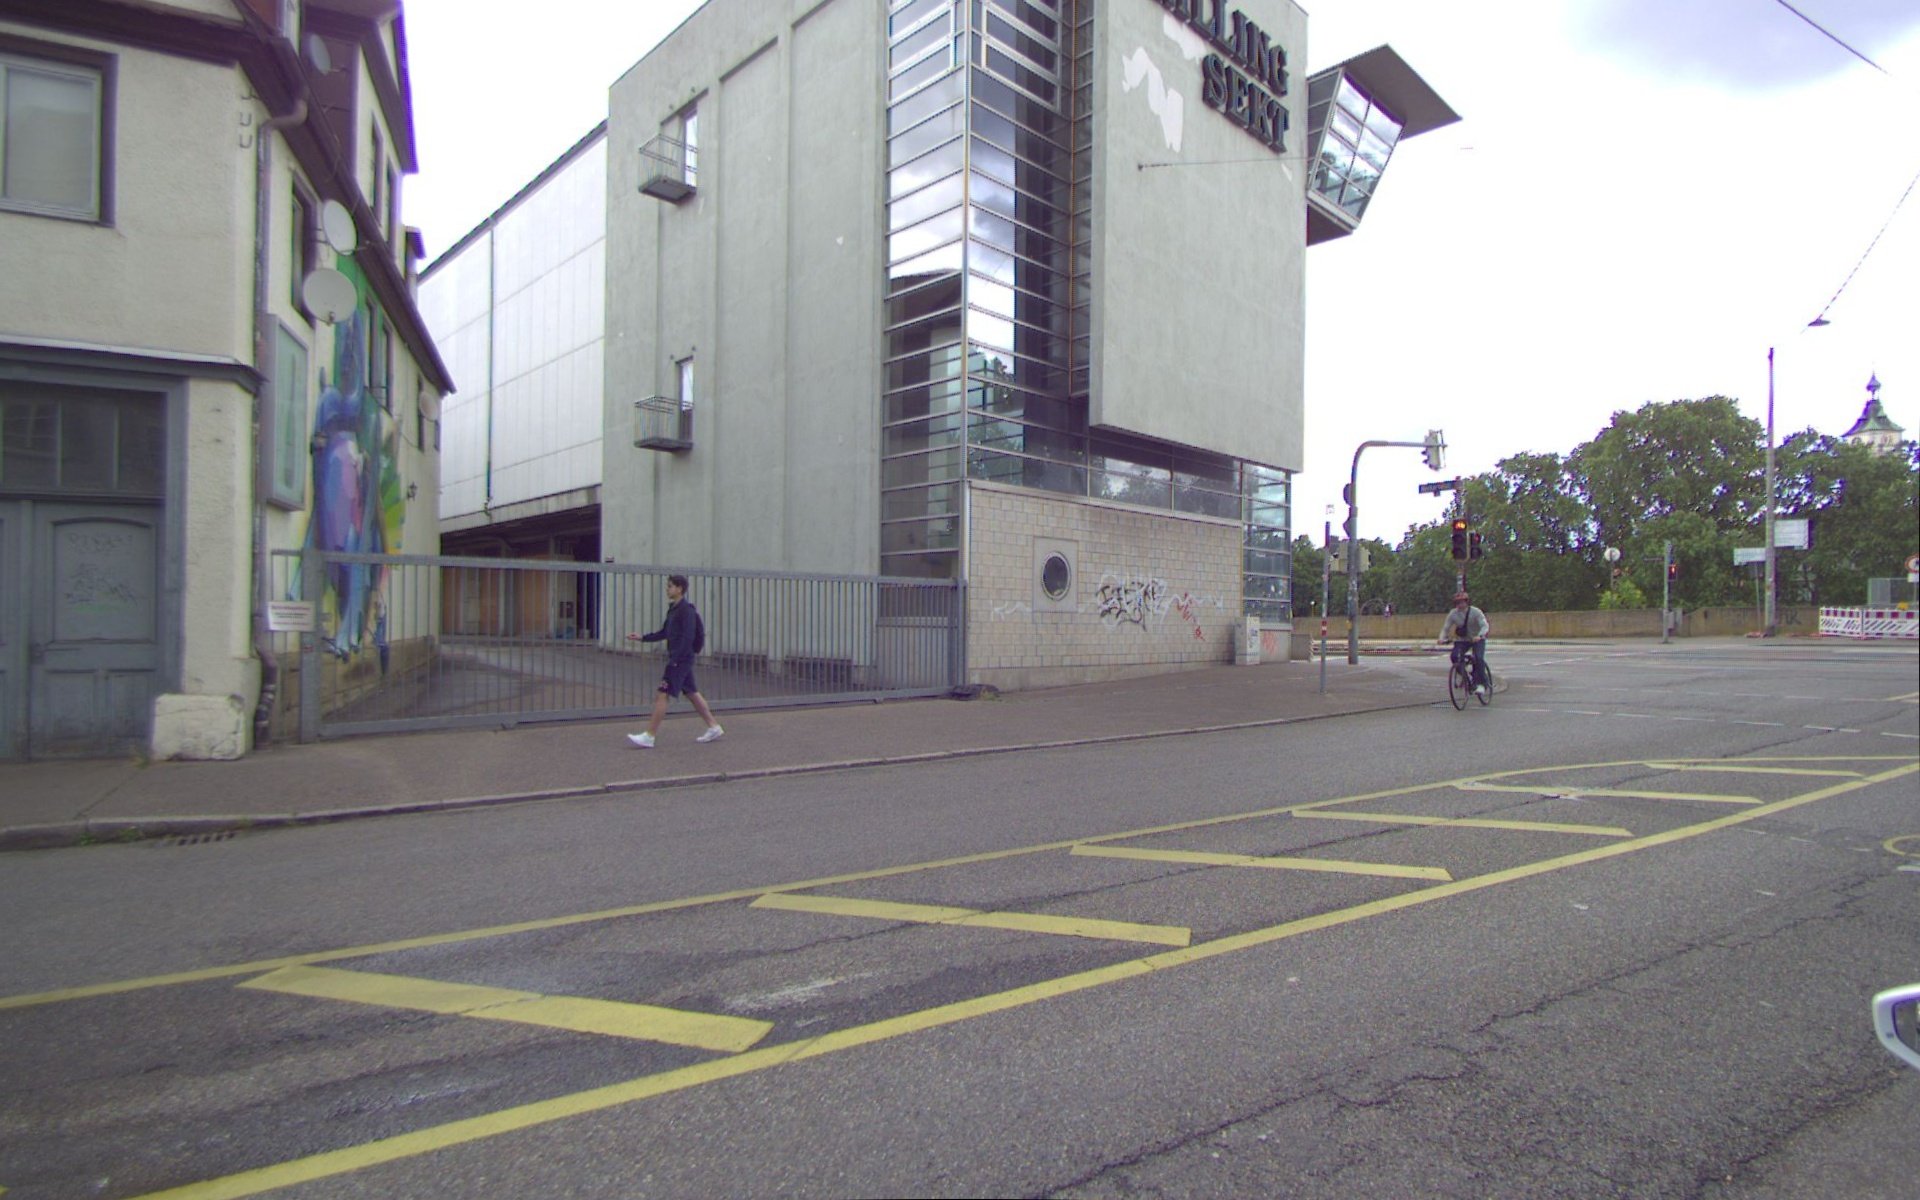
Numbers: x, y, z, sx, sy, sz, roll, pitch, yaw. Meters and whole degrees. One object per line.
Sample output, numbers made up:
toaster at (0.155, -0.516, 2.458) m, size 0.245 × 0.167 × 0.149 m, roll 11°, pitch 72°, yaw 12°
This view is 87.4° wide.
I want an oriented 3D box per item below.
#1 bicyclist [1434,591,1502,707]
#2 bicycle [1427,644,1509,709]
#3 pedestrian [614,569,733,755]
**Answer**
bicyclist at (7.807, 0.733, 15.427) m, size 0.805 × 1.723 × 0.716 m, roll 1°, pitch -1°, yaw -44°
bicycle at (7.857, 1.157, 15.499) m, size 1.867 × 0.904 × 0.536 m, roll 1°, pitch -1°, yaw -44°
pedestrian at (-3.168, 0.629, 11.049) m, size 1.077 × 1.911 × 1.050 m, roll -1°, pitch 1°, yaw -27°
